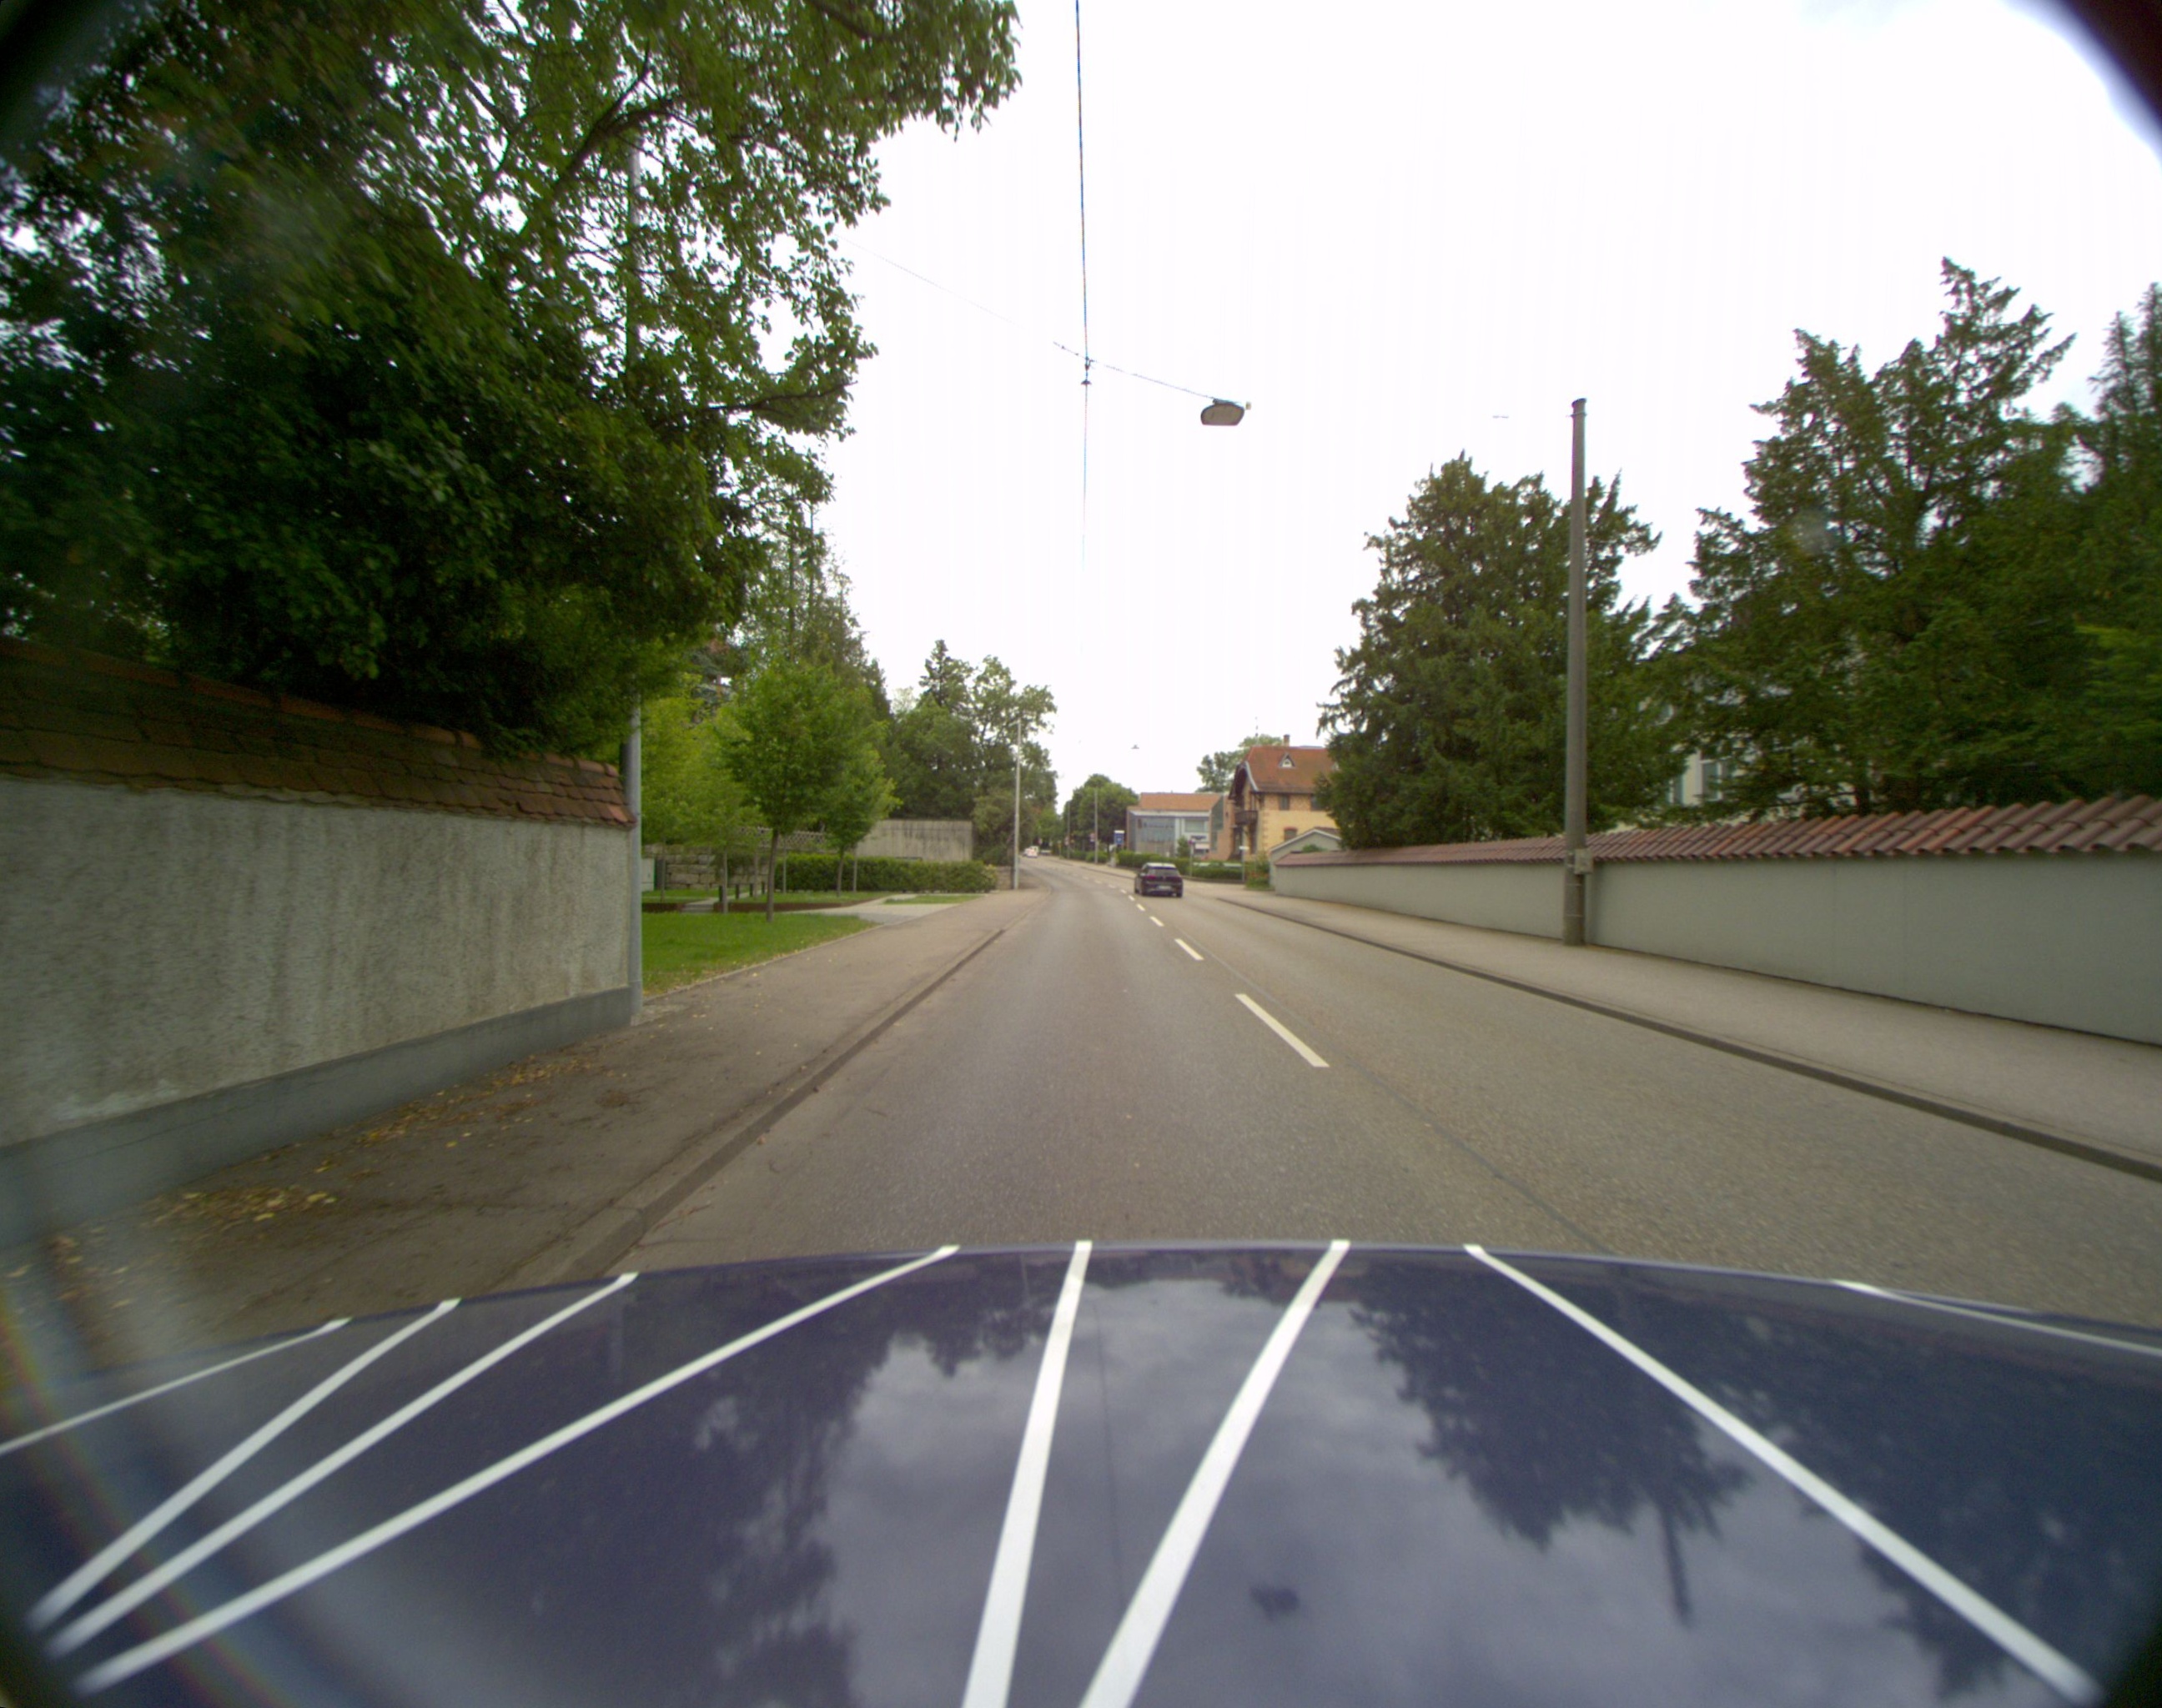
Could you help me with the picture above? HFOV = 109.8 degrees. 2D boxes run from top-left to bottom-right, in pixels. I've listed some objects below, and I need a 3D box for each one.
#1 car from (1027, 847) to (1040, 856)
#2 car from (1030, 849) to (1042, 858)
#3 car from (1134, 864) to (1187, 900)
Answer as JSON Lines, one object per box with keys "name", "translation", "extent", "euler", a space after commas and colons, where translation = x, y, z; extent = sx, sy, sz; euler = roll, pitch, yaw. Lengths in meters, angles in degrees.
{"name": "car", "translation": [-9.585, -0.471, 151.709], "extent": [2.001, 1.701, 3.995], "euler": [0, 1, -12]}
{"name": "car", "translation": [-8.536, -0.066, 144.881], "extent": [2.000, 1.701, 3.997], "euler": [0, 1, -7]}
{"name": "car", "translation": [3.457, 1.187, 33.554], "extent": [1.790, 1.420, 3.999], "euler": [1, 0, -2]}
